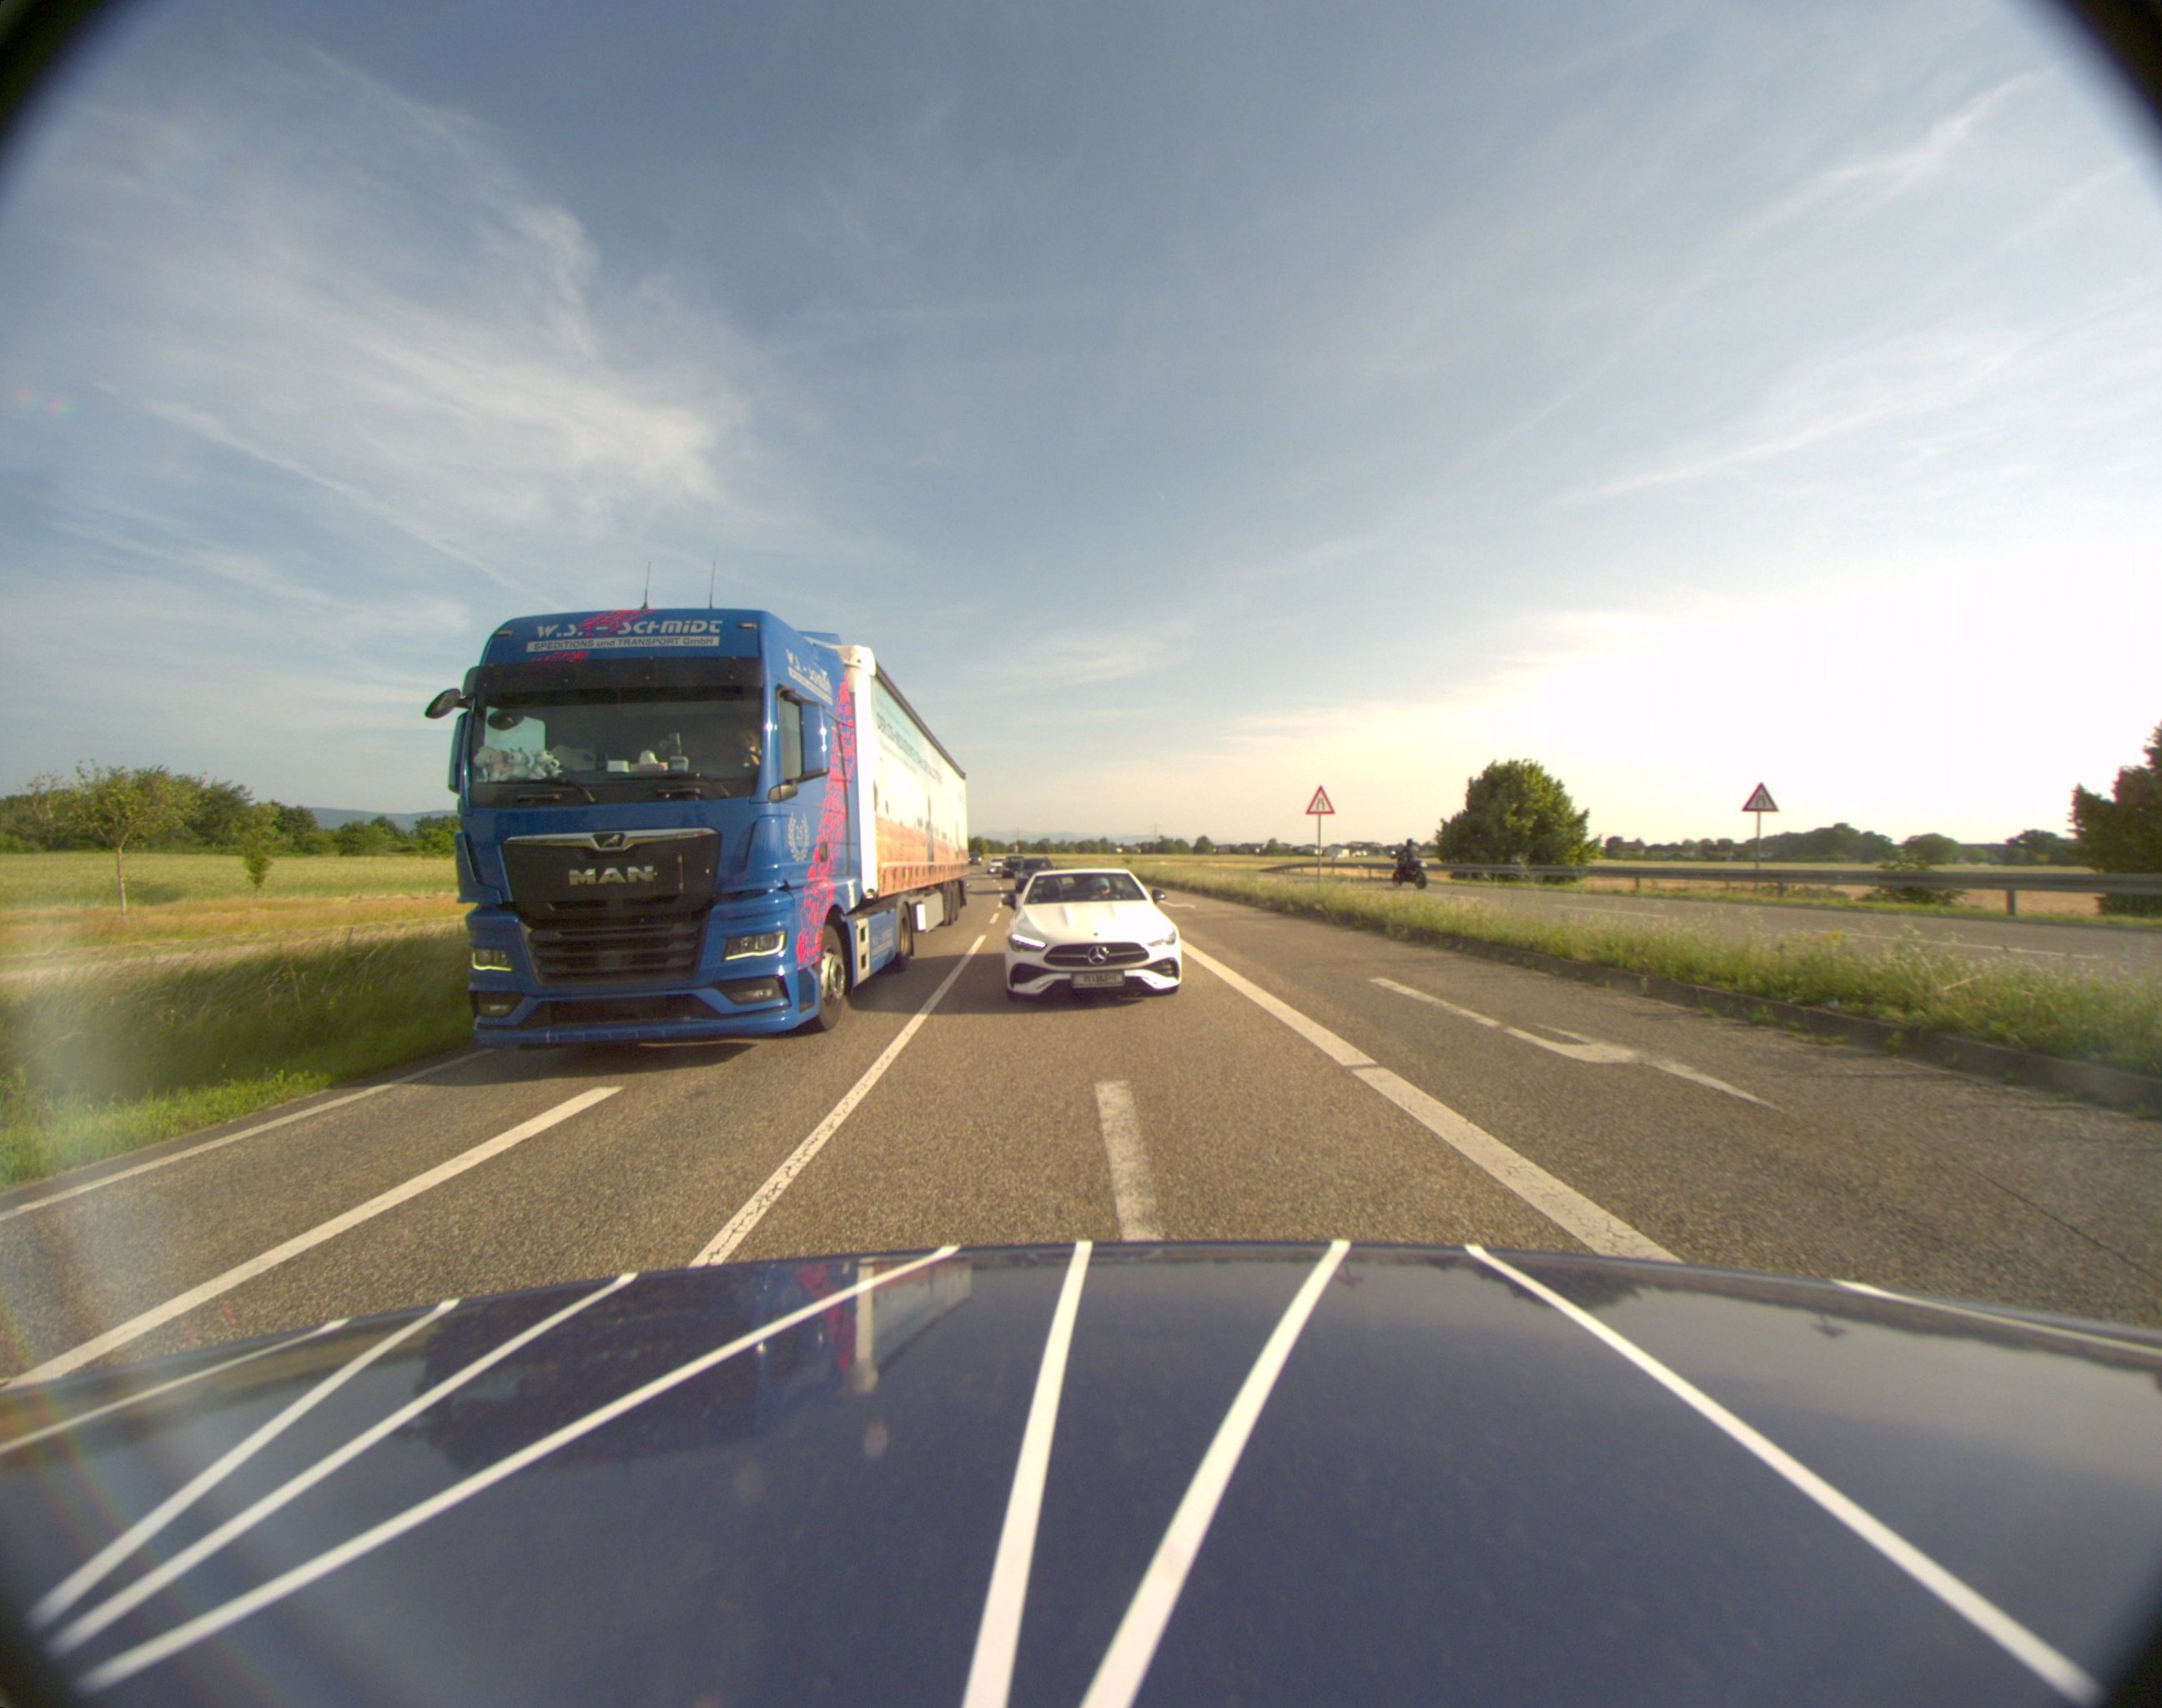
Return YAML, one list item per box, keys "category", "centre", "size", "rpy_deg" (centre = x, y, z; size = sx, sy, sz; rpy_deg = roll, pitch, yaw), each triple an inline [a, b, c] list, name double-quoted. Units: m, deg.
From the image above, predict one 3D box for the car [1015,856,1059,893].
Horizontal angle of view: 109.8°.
- category: "car"
  centre: [-1.949, 0.835, 33.115]
  size: [1.586, 1.496, 3.658]
  rpy_deg: [-1, 0, -8]

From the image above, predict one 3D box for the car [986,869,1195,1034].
- category: "car"
  centre: [0.041, 0.970, 9.188]
  size: [1.941, 1.389, 3.917]
  rpy_deg: [-2, 1, -2]

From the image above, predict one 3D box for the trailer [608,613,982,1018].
- category: "trailer"
  centre: [-4.165, -0.558, 15.460]
  size: [3.291, 4.654, 13.140]
  rpy_deg: [-2, 1, -4]

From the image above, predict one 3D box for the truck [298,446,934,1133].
- category: "truck"
  centre: [-3.690, -0.491, 8.096]
  size: [3.309, 4.631, 5.729]
  rpy_deg: [-2, 1, -4]

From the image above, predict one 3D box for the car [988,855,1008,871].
- category: "car"
  centre: [-7.315, 0.768, 66.580]
  size: [1.558, 1.392, 4.032]
  rpy_deg: [-1, 0, -8]

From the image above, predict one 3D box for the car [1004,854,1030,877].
- category: "car"
  centre: [-4.458, 0.775, 52.680]
  size: [1.558, 1.550, 3.046]
  rpy_deg: [-1, 0, -8]

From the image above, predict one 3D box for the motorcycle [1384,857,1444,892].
- category: "motorcycle"
  centre: [11.476, 0.671, 26.305]
  size: [0.940, 1.118, 2.169]
  rpy_deg: [-2, 0, -5]

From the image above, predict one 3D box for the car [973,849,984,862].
- category: "car"
  centre: [-15.299, 0.230, 113.656]
  size: [1.558, 1.909, 4.032]
  rpy_deg: [-1, 0, -8]

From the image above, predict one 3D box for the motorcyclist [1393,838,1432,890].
- category: "motorcyclist"
  centre: [11.461, 0.344, 26.275]
  size: [0.906, 1.748, 0.831]
  rpy_deg: [-2, 1, -6]
